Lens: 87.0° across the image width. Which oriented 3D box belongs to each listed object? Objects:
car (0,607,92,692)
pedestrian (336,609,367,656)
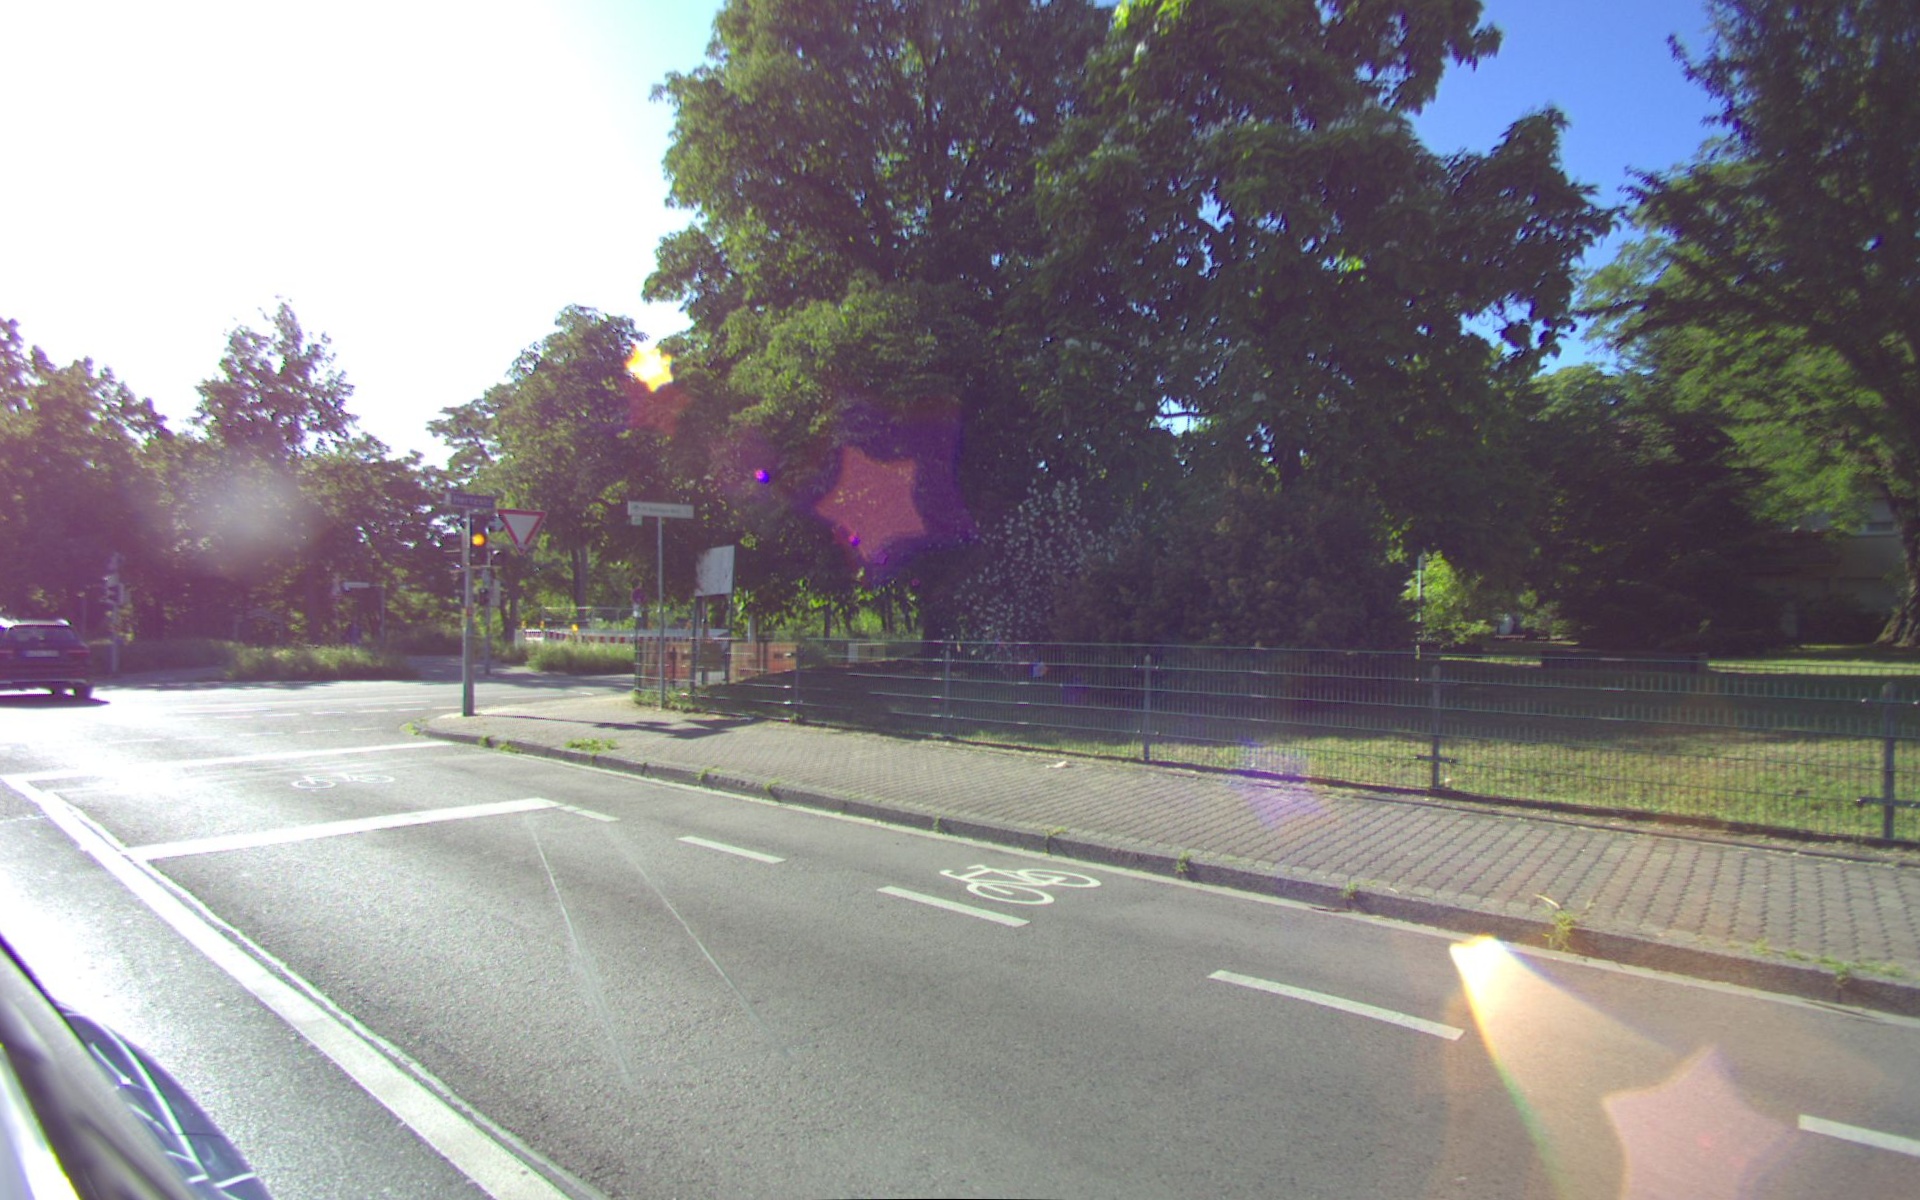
[{"bbox_3d":[-19.807,1.007,21.290,4.391,1.630,1.795,-2,-2,42],"label":"car"},{"bbox_3d":[-21.824,1.145,36.302,0.647,1.646,0.790,-2,-1,41],"label":"pedestrian"}]
